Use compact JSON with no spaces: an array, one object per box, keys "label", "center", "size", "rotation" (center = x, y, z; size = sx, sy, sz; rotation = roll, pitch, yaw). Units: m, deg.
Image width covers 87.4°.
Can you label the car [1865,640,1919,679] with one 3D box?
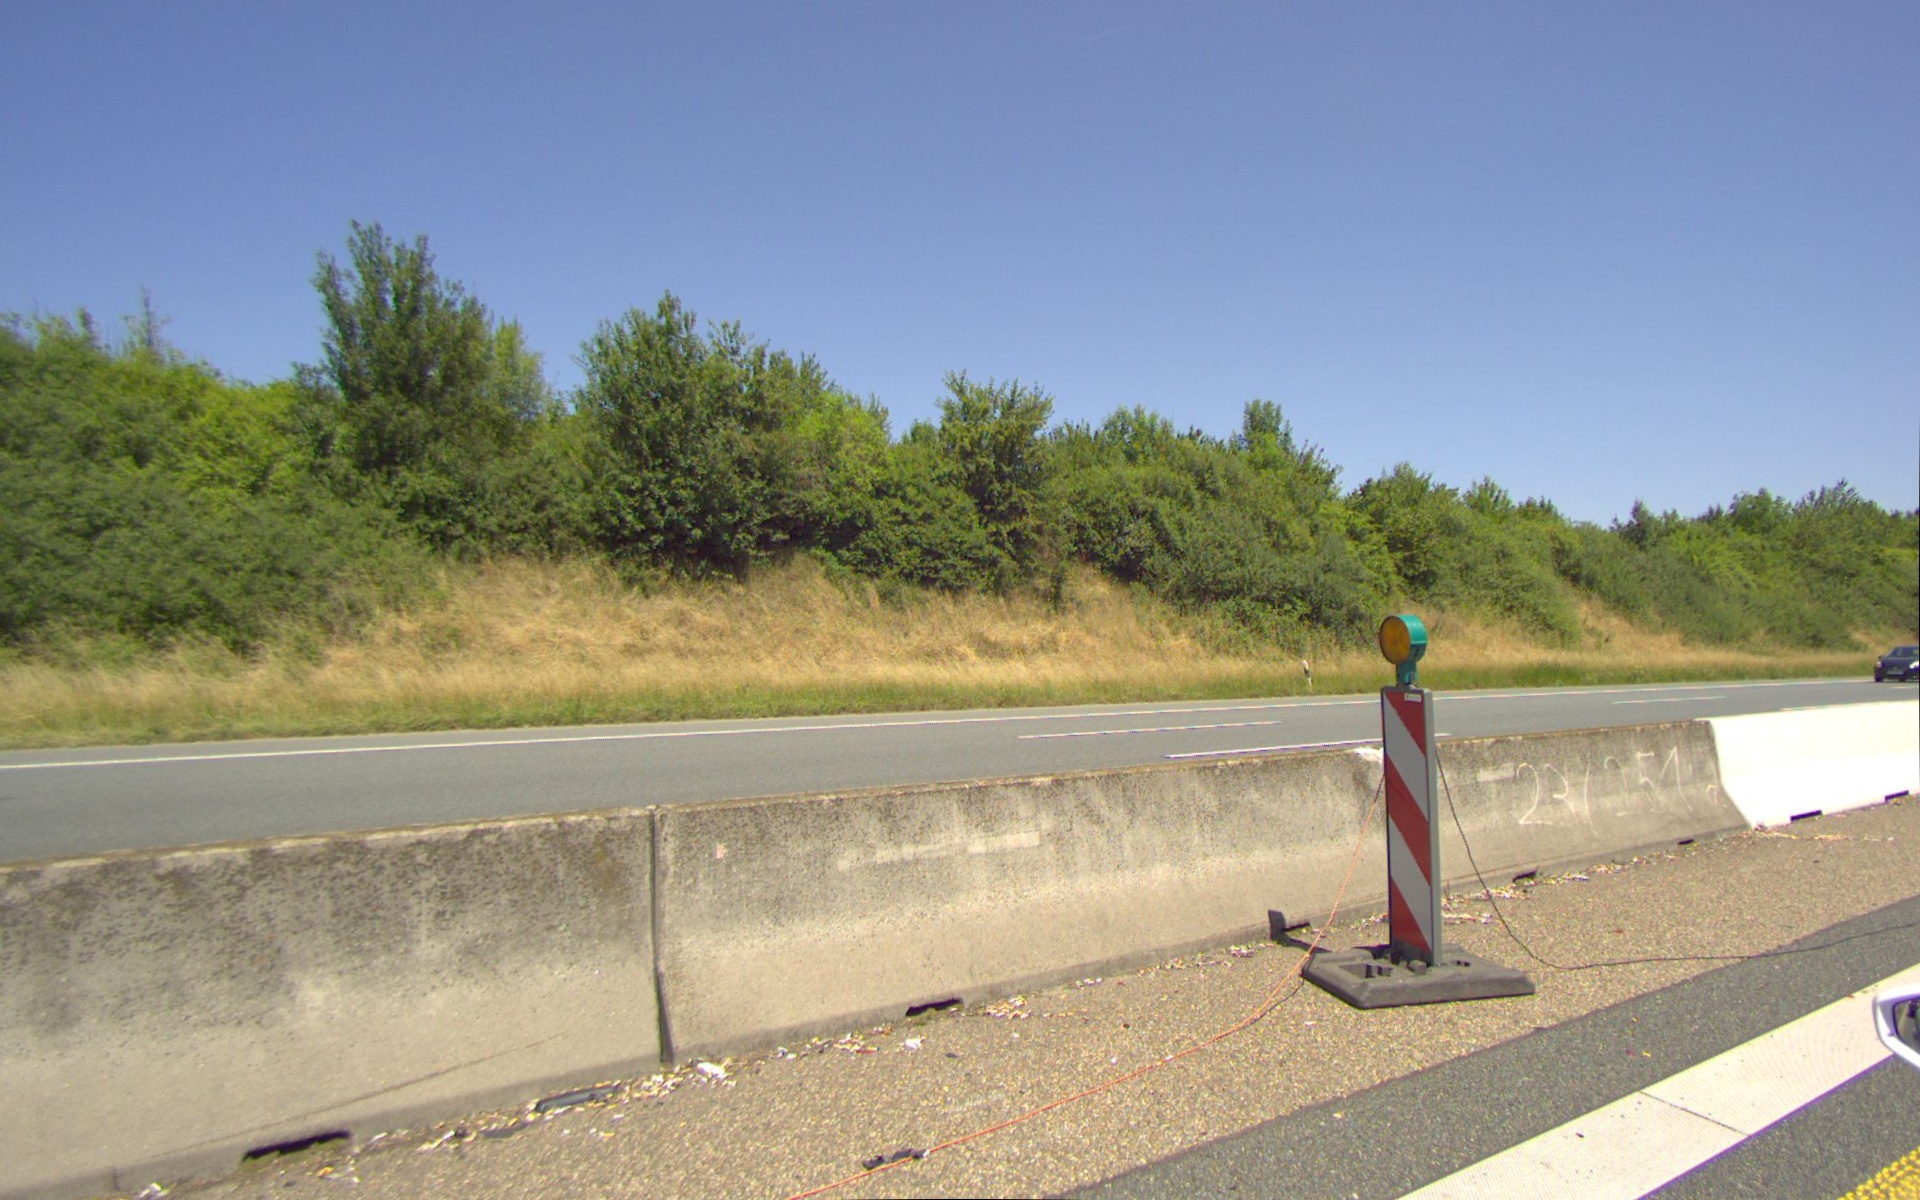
[{"label":"car","center":[37.747,2.335,39.878],"size":[3.806,1.483,1.700],"rotation":[2,-3,-32]}]
